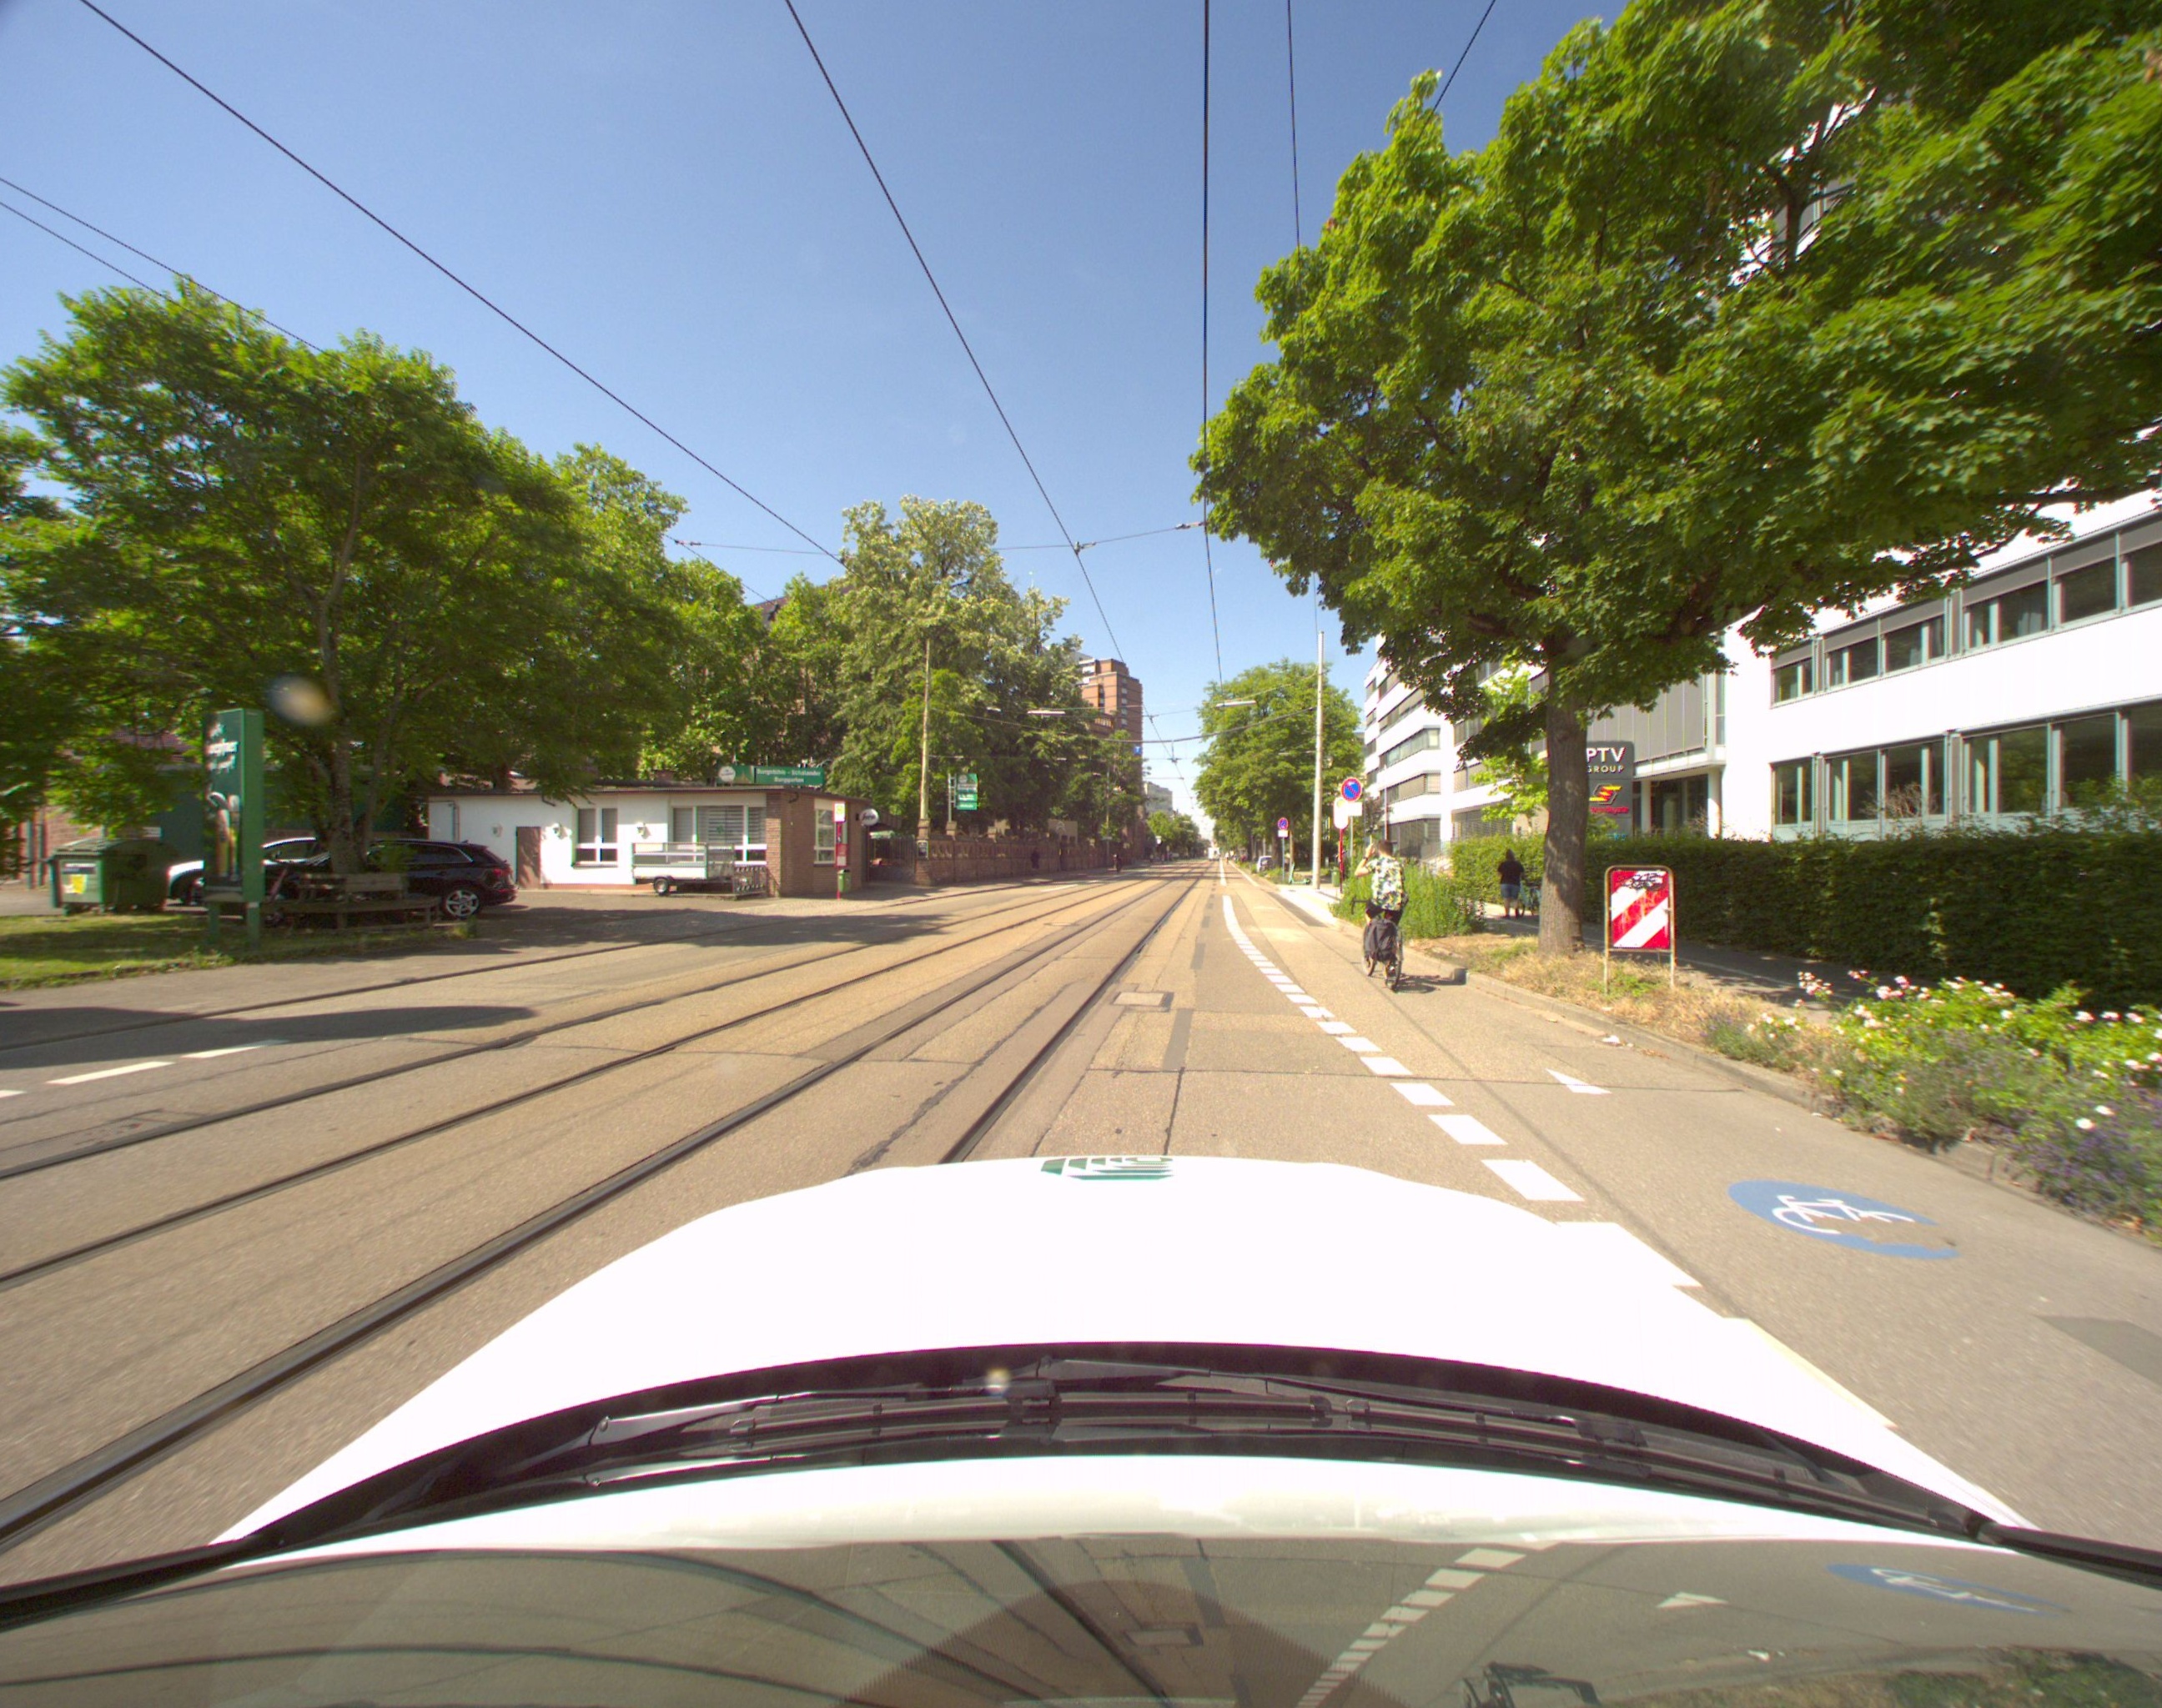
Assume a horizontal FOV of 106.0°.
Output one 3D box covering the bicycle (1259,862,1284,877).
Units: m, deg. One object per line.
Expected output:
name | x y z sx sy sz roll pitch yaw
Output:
bicycle | 13.534 1.104 57.871 1.714 1.086 0.641 0 0 9

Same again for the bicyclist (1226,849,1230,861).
bicyclist | 22.690 0.162 125.618 0.632 1.871 1.027 0 0 9

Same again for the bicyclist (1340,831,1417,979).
bicyclist | 3.647 0.595 10.056 0.712 1.724 0.990 0 0 8

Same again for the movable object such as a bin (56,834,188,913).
movable object such as a bin | -19.270 0.364 16.383 1.404 1.502 1.387 0 0 25

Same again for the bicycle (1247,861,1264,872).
bicycle | 17.836 1.241 83.154 1.714 1.086 0.572 0 0 8

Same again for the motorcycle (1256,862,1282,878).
motorcycle | 13.059 1.092 56.523 1.714 1.086 0.660 0 0 9

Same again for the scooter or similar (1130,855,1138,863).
scooter or similar | 7.152 0.680 109.687 1.193 1.129 0.330 1 -1 -42

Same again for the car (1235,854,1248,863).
car | 24.572 0.721 124.709 1.621 1.355 3.910 0 0 8

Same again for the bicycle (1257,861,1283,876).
bicycle | 13.647 1.034 58.753 1.782 1.086 0.728 0 0 9

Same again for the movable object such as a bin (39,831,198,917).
movable object such as a bin | -17.830 0.346 15.133 1.408 1.502 1.384 1 0 13

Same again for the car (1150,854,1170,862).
car | 17.884 0.906 184.259 4.009 1.810 1.873 0 -1 -28

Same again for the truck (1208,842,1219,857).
truck | 28.251 -0.928 173.720 2.388 3.108 6.053 0 0 9

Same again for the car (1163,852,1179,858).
car | 23.944 0.281 216.955 4.001 1.750 1.986 0 0 -21

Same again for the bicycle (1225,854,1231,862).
bicycle | 22.647 0.633 125.500 0.850 1.110 2.145 1 0 9

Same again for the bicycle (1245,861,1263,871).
bicycle | 17.565 1.222 82.635 1.714 1.086 0.698 0 0 9

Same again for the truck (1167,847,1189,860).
truck | 29.263 -0.221 245.236 2.786 3.859 10.063 0 0 31

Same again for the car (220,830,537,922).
car | -14.019 0.394 16.685 4.681 1.640 1.998 1 0 -37

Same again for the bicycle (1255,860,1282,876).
bicycle | 13.942 1.041 60.589 1.893 1.169 0.821 0 0 9

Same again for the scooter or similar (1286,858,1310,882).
scooter or similar | 10.822 0.807 40.703 1.118 1.166 0.678 0 0 12

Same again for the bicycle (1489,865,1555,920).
bicycle | 9.766 0.815 18.102 0.632 1.117 2.072 0 0 9

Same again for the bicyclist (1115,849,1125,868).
bicyclist | 3.206 0.344 67.194 0.736 1.531 0.950 0 -1 10

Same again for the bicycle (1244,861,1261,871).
bicycle | 17.894 1.229 84.871 1.714 1.086 0.616 0 0 8

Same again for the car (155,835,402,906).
car | -19.129 0.369 19.717 4.018 1.557 1.827 1 0 -37

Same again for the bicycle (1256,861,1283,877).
bicycle | 13.729 1.107 59.277 1.838 1.132 0.682 0 0 9

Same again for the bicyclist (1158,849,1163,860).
bicyclist | 12.394 0.134 127.550 0.721 1.698 1.149 0 0 9

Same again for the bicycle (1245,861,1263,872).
bicycle | 17.377 1.231 81.972 1.714 1.086 0.630 0 0 8

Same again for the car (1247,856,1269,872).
car | 16.577 0.903 76.411 1.621 1.483 4.282 0 0 8

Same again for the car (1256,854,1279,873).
car | 14.686 0.725 64.356 1.619 1.472 3.641 1 0 11

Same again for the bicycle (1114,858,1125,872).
bicycle | 3.182 0.879 67.009 0.588 1.105 2.060 1 0 10

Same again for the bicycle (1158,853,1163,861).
bicycle | 12.408 0.498 127.558 0.658 1.154 2.019 1 0 10

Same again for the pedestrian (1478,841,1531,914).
pedestrian | 9.440 0.510 18.193 0.683 1.563 0.990 -1 0 5

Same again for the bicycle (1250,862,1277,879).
bicycle | 12.207 1.105 54.407 1.714 1.086 0.791 0 0 9

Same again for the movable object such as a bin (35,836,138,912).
movable object such as a bin | -21.032 0.406 17.230 1.312 1.502 1.339 -2 -1 38

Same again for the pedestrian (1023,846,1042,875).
pedestrian | -3.119 0.410 52.597 0.970 1.816 1.188 -1 -1 10

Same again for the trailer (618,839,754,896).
trailer | -11.881 0.387 24.608 3.253 1.603 1.728 1 0 10

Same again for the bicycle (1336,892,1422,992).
bicycle | 3.630 1.022 10.087 0.605 0.984 2.170 1 0 9

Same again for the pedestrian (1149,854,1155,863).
pedestrian | 11.985 0.732 137.661 0.880 1.512 1.476 0 0 1

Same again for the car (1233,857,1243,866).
car | 28.148 1.322 146.151 1.620 1.472 4.125 0 0 10
